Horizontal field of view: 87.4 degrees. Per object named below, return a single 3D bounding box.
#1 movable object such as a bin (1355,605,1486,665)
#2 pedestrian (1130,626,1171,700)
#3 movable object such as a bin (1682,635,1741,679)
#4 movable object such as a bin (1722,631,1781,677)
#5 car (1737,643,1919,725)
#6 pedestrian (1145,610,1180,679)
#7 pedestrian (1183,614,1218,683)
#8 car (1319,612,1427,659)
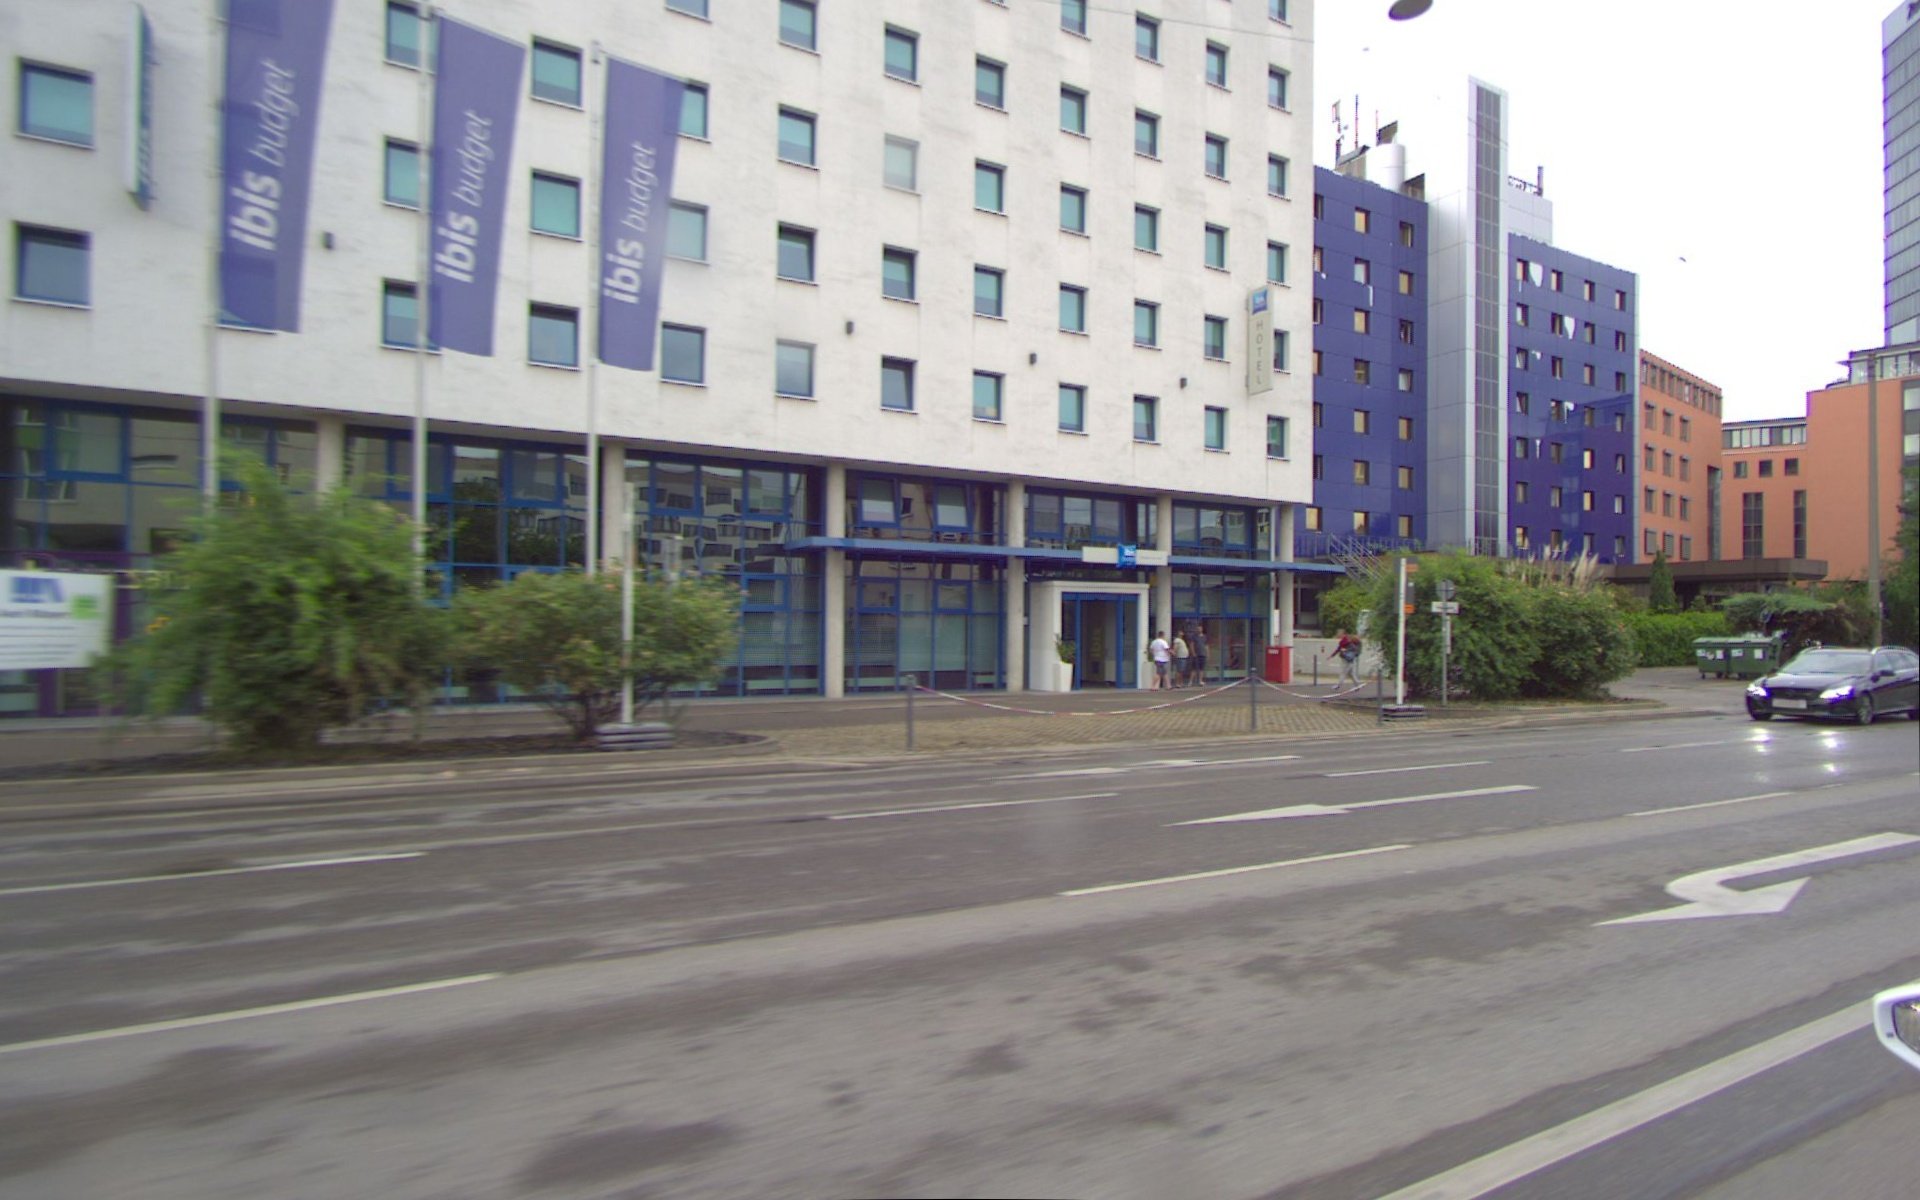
[{"bbox_3d":[22.148,1.764,48.637,2.136,2.661,5.603,3,-5,-29],"label":"movable object such as a bin"},{"bbox_3d":[5.395,1.783,28.483,0.805,2.039,0.799,3,-5,-28],"label":"pedestrian"},{"bbox_3d":[26.756,2.054,35.779,0.936,1.510,1.390,2,-4,-18],"label":"movable object such as a bin"},{"bbox_3d":[26.887,1.853,34.121,0.943,1.510,1.379,4,-5,-39],"label":"movable object such as a bin"},{"bbox_3d":[18.011,1.647,20.567,4.644,1.496,1.725,1,-2,-30],"label":"car"},{"bbox_3d":[6.106,1.348,30.257,0.801,2.039,0.803,-1,-5,33],"label":"pedestrian"},{"bbox_3d":[7.355,1.494,30.760,0.883,2.039,0.815,1,-4,0],"label":"pedestrian"},{"bbox_3d":[19.712,1.749,48.150,1.870,2.039,4.694,3,-5,-29],"label":"car"}]
